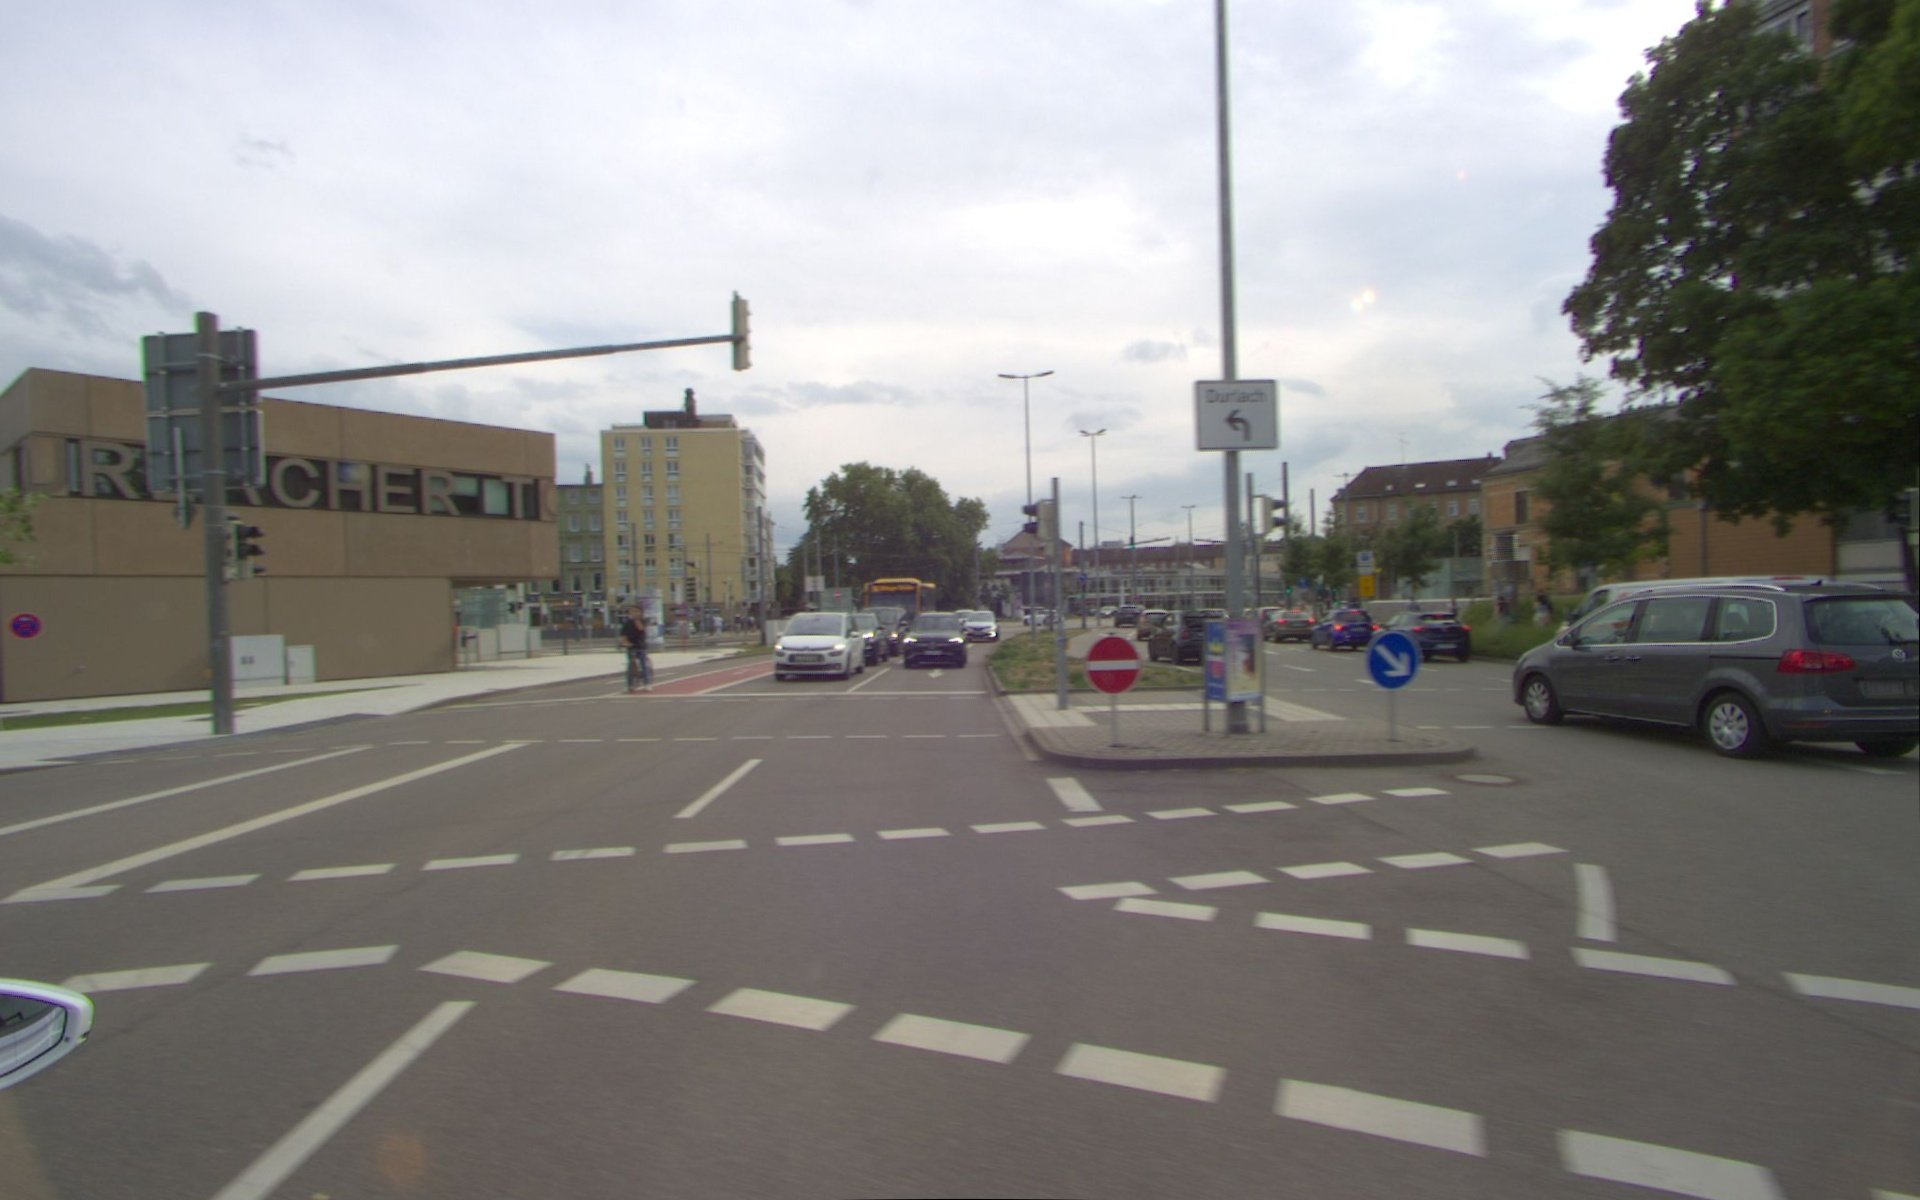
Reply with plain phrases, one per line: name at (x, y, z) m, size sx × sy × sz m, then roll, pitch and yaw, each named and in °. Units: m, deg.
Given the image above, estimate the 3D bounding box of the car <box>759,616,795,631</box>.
car at (-21.389, 2.765, 116.983) m, size 3.922 × 1.706 × 1.606 m, roll 0°, pitch -1°, yaw -1°

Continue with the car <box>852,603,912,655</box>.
car at (-3.007, 1.109, 39.294) m, size 1.961 × 1.923 × 4.291 m, roll 0°, pitch -1°, yaw 1°

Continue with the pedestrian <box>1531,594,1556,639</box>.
pedestrian at (20.768, 0.584, 35.630) m, size 0.542 × 1.556 × 0.547 m, roll -3°, pitch 0°, yaw -33°

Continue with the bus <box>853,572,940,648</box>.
bus at (-2.877, 0.568, 49.544) m, size 3.096 × 3.297 × 12.416 m, roll 0°, pitch -1°, yaw 2°

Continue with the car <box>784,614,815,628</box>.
car at (-21.214, 2.777, 132.383) m, size 3.922 × 1.706 × 1.606 m, roll 0°, pitch -1°, yaw -1°

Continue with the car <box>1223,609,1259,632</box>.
car at (18.049, 1.335, 64.417) m, size 1.676 × 1.438 × 3.701 m, roll 0°, pitch -1°, yaw 7°

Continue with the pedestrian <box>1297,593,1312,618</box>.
pedestrian at (22.385, 0.369, 65.100) m, size 0.766 × 1.594 × 0.811 m, roll -3°, pitch 0°, yaw 13°

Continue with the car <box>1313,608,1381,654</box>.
car at (13.968, 1.098, 36.315) m, size 1.829 × 1.552 × 3.999 m, roll 0°, pitch -1°, yaw 14°

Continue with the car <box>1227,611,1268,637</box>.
car at (16.681, 1.391, 58.284) m, size 1.676 × 1.438 × 3.701 m, roll 0°, pitch -1°, yaw 7°

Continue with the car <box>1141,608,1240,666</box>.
car at (6.391, 1.017, 28.110) m, size 1.639 × 1.509 × 3.441 m, roll 0°, pitch -1°, yaw -6°

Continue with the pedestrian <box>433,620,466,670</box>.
pedestrian at (-18.596, 1.638, 36.470) m, size 0.804 × 1.755 × 0.773 m, roll -3°, pitch 0°, yaw -44°

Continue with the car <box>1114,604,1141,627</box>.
car at (12.695, 1.178, 75.595) m, size 1.806 × 1.636 × 3.544 m, roll 0°, pitch -1°, yaw 13°

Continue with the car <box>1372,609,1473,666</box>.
car at (13.264, 1.060, 28.929) m, size 1.639 × 1.527 × 3.634 m, roll 0°, pitch -1°, yaw 7°

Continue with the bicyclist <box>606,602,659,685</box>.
bicyclist at (-6.811, 0.900, 20.834) m, size 0.853 × 1.690 × 0.881 m, roll 0°, pitch 0°, yaw -4°

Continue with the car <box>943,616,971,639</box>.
car at (-0.183, 1.992, 73.125) m, size 1.961 × 1.672 × 4.513 m, roll 0°, pitch -1°, yaw 1°

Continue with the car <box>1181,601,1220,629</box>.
car at (12.690, 0.806, 53.026) m, size 1.683 × 1.438 × 3.999 m, roll 0°, pitch -1°, yaw 9°

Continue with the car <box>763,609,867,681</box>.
car at (-3.560, 1.086, 25.340) m, size 1.961 × 1.672 × 4.291 m, roll 0°, pitch -1°, yaw 1°

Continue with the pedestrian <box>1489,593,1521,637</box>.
pedestrian at (20.162, 0.558, 37.051) m, size 0.766 × 1.594 × 0.811 m, roll -3°, pitch 0°, yaw 13°

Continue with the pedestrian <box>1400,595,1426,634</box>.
pedestrian at (19.153, 0.591, 42.349) m, size 0.766 × 1.594 × 0.811 m, roll -3°, pitch 0°, yaw 13°

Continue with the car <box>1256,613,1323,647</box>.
car at (14.639, 1.322, 44.663) m, size 2.098 × 1.438 × 3.701 m, roll 0°, pitch -1°, yaw 7°

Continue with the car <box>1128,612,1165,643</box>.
car at (8.904, 1.305, 47.647) m, size 1.668 × 1.423 × 3.698 m, roll 0°, pitch -1°, yaw 12°

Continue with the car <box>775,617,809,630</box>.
car at (-21.079, 2.956, 125.660) m, size 3.922 × 1.706 × 1.606 m, roll 0°, pitch -1°, yaw -1°

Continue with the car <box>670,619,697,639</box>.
car at (-28.824, 3.025, 104.433) m, size 1.961 × 2.040 × 4.000 m, roll 0°, pitch -1°, yaw -4°

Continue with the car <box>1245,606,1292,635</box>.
car at (15.913, 1.050, 51.776) m, size 1.676 × 1.438 × 3.701 m, roll 0°, pitch -1°, yaw 7°

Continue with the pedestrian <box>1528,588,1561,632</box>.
pedestrian at (21.815, 0.378, 37.379) m, size 0.766 × 1.594 × 0.811 m, roll -3°, pitch 0°, yaw 13°

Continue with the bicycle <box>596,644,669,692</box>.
bicycle at (-6.808, 1.397, 20.947) m, size 0.848 × 0.888 × 2.519 m, roll 0°, pitch -1°, yaw -4°

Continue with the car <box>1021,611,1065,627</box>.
car at (7.571, 1.760, 91.529) m, size 1.697 × 1.438 × 3.968 m, roll 1°, pitch -1°, yaw -39°

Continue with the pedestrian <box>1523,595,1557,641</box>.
pedestrian at (20.726, 0.631, 35.798) m, size 0.766 × 1.594 × 0.811 m, roll -3°, pitch 0°, yaw 13°

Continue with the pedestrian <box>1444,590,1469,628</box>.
pedestrian at (21.782, 0.386, 43.942) m, size 0.766 × 1.594 × 0.811 m, roll -3°, pitch 0°, yaw 13°

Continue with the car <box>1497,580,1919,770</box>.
car at (8.302, 0.715, 11.241) m, size 1.726 × 1.672 × 4.686 m, roll 0°, pitch -1°, yaw -5°

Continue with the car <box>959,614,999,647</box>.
car at (0.972, 1.569, 52.315) m, size 1.961 × 1.672 × 4.513 m, roll 0°, pitch -1°, yaw 1°

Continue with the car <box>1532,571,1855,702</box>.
car at (12.652, 0.618, 17.838) m, size 1.790 × 1.985 × 5.206 m, roll 0°, pitch -1°, yaw -2°

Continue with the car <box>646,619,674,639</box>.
car at (-31.188, 3.010, 104.093) m, size 1.961 × 2.040 × 4.000 m, roll 0°, pitch -1°, yaw -4°

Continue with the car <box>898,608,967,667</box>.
car at (-0.772, 1.127, 31.035) m, size 1.961 × 1.672 × 4.513 m, roll 0°, pitch -1°, yaw 1°

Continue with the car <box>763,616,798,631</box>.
car at (-21.612, 2.849, 120.837) m, size 3.922 × 1.706 × 1.606 m, roll 0°, pitch -1°, yaw -1°

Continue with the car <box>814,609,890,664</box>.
car at (-3.441, 1.157, 32.701) m, size 1.961 × 1.672 × 4.291 m, roll 0°, pitch -1°, yaw 1°
